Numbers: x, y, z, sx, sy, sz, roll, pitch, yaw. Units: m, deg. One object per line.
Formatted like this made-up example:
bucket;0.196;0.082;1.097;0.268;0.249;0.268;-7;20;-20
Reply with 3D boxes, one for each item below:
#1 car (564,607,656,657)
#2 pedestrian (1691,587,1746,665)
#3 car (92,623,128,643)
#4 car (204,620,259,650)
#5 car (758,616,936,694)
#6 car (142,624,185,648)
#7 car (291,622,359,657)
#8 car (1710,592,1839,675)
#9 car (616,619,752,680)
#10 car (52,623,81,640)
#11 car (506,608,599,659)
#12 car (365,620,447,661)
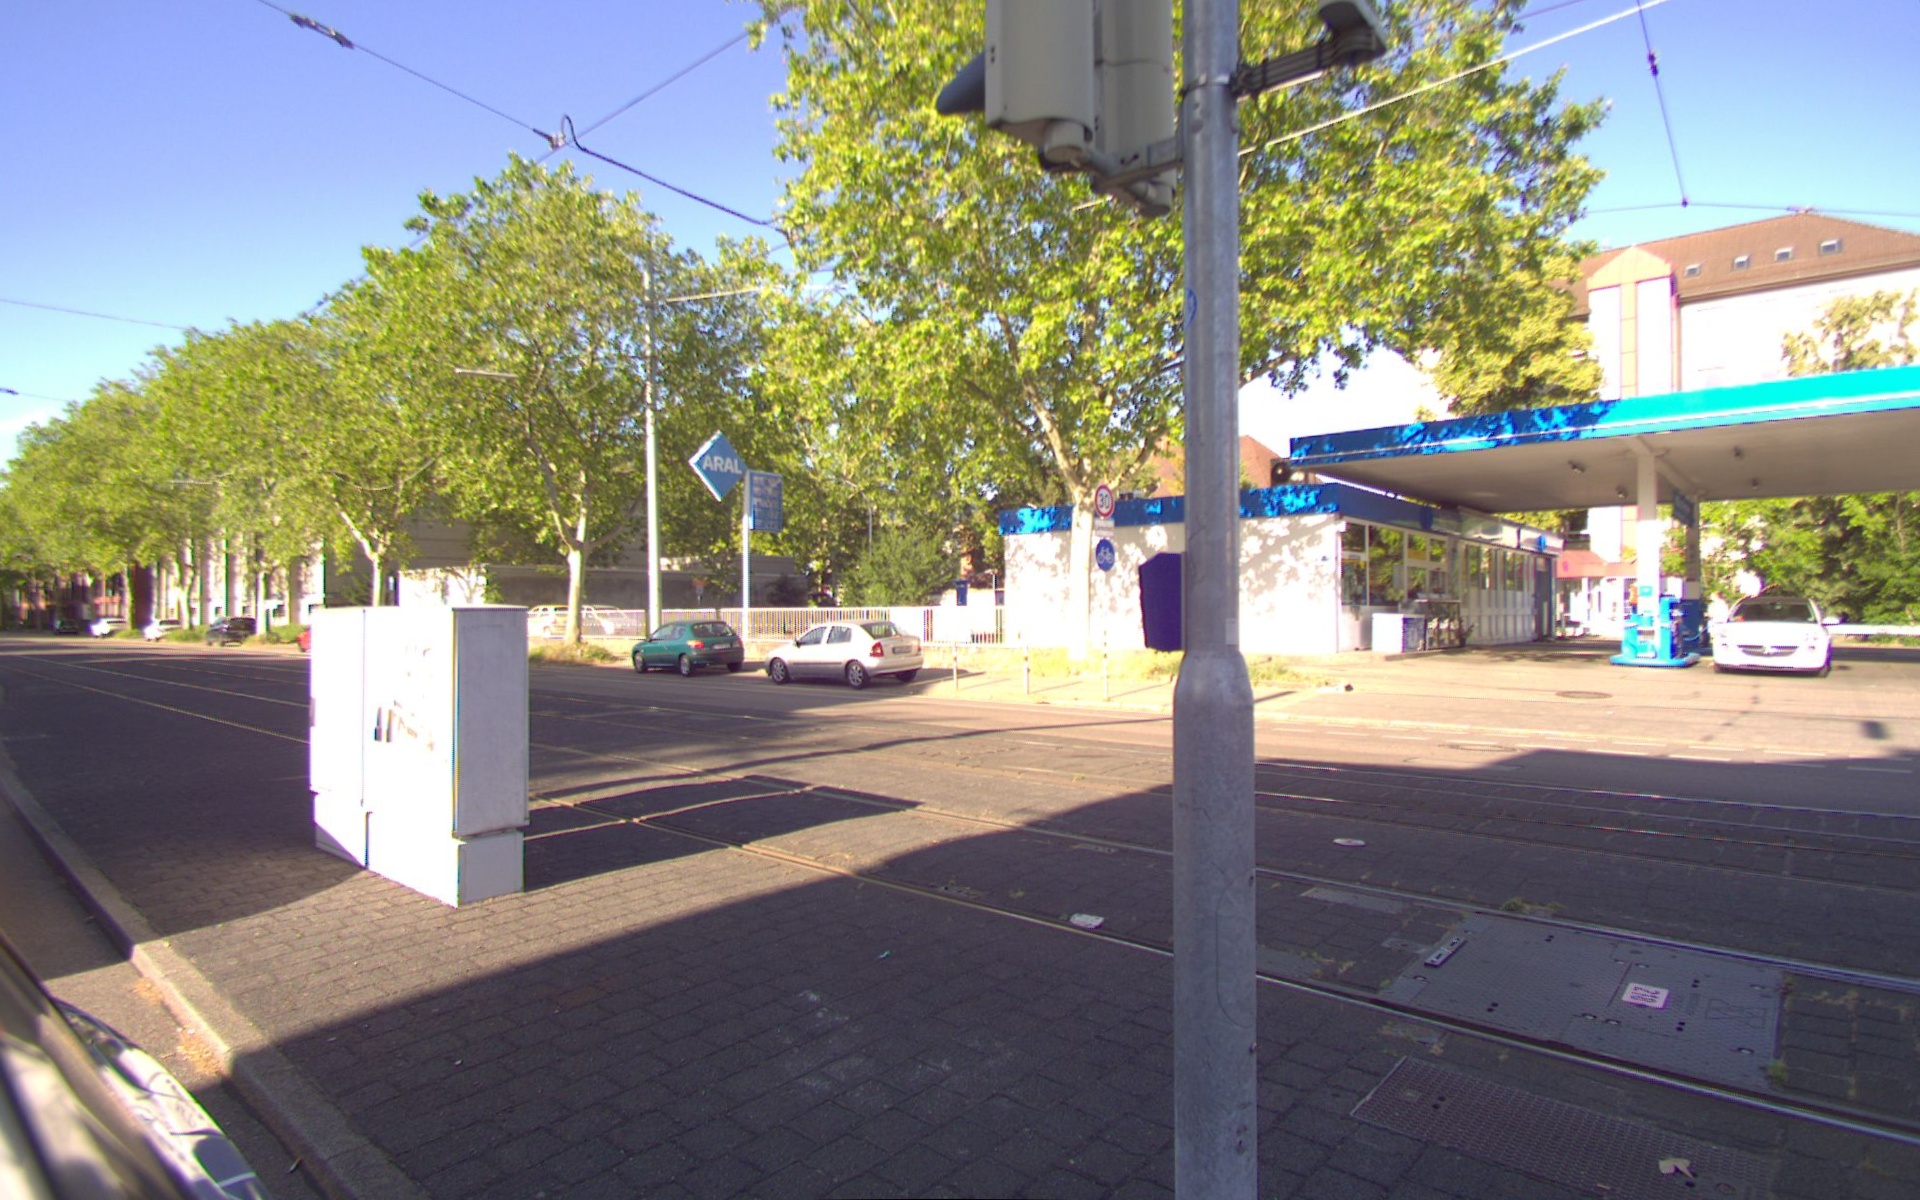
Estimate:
car;-15.144;1.358;43.690;3.996;2.029;1.974;-1;-1;39
pedestrian;16.240;0.550;21.664;0.637;1.642;0.814;1;-2;-42
car;-66.925;2.569;79.641;3.858;1.495;1.735;-1;0;43
car;-40.675;1.947;56.486;3.858;1.557;1.735;-1;0;43
car;-2.572;1.163;22.596;3.857;1.497;1.823;-1;1;42
car;-53.637;2.389;68.121;3.858;1.495;1.735;-1;0;43
car;-28.911;1.767;46.045;3.858;1.440;1.695;-1;0;43
car;15.942;0.611;19.783;1.793;1.453;3.946;-1;-1;40
car;-7.432;1.270;27.076;3.858;1.408;1.722;-1;1;43
car;-84.872;3.000;96.116;3.858;1.495;1.735;-1;0;43
car;-17.043;1.388;42.263;3.996;2.029;1.974;-1;-1;39
car;-21.984;1.582;40.091;3.858;1.468;1.735;-1;0;43
